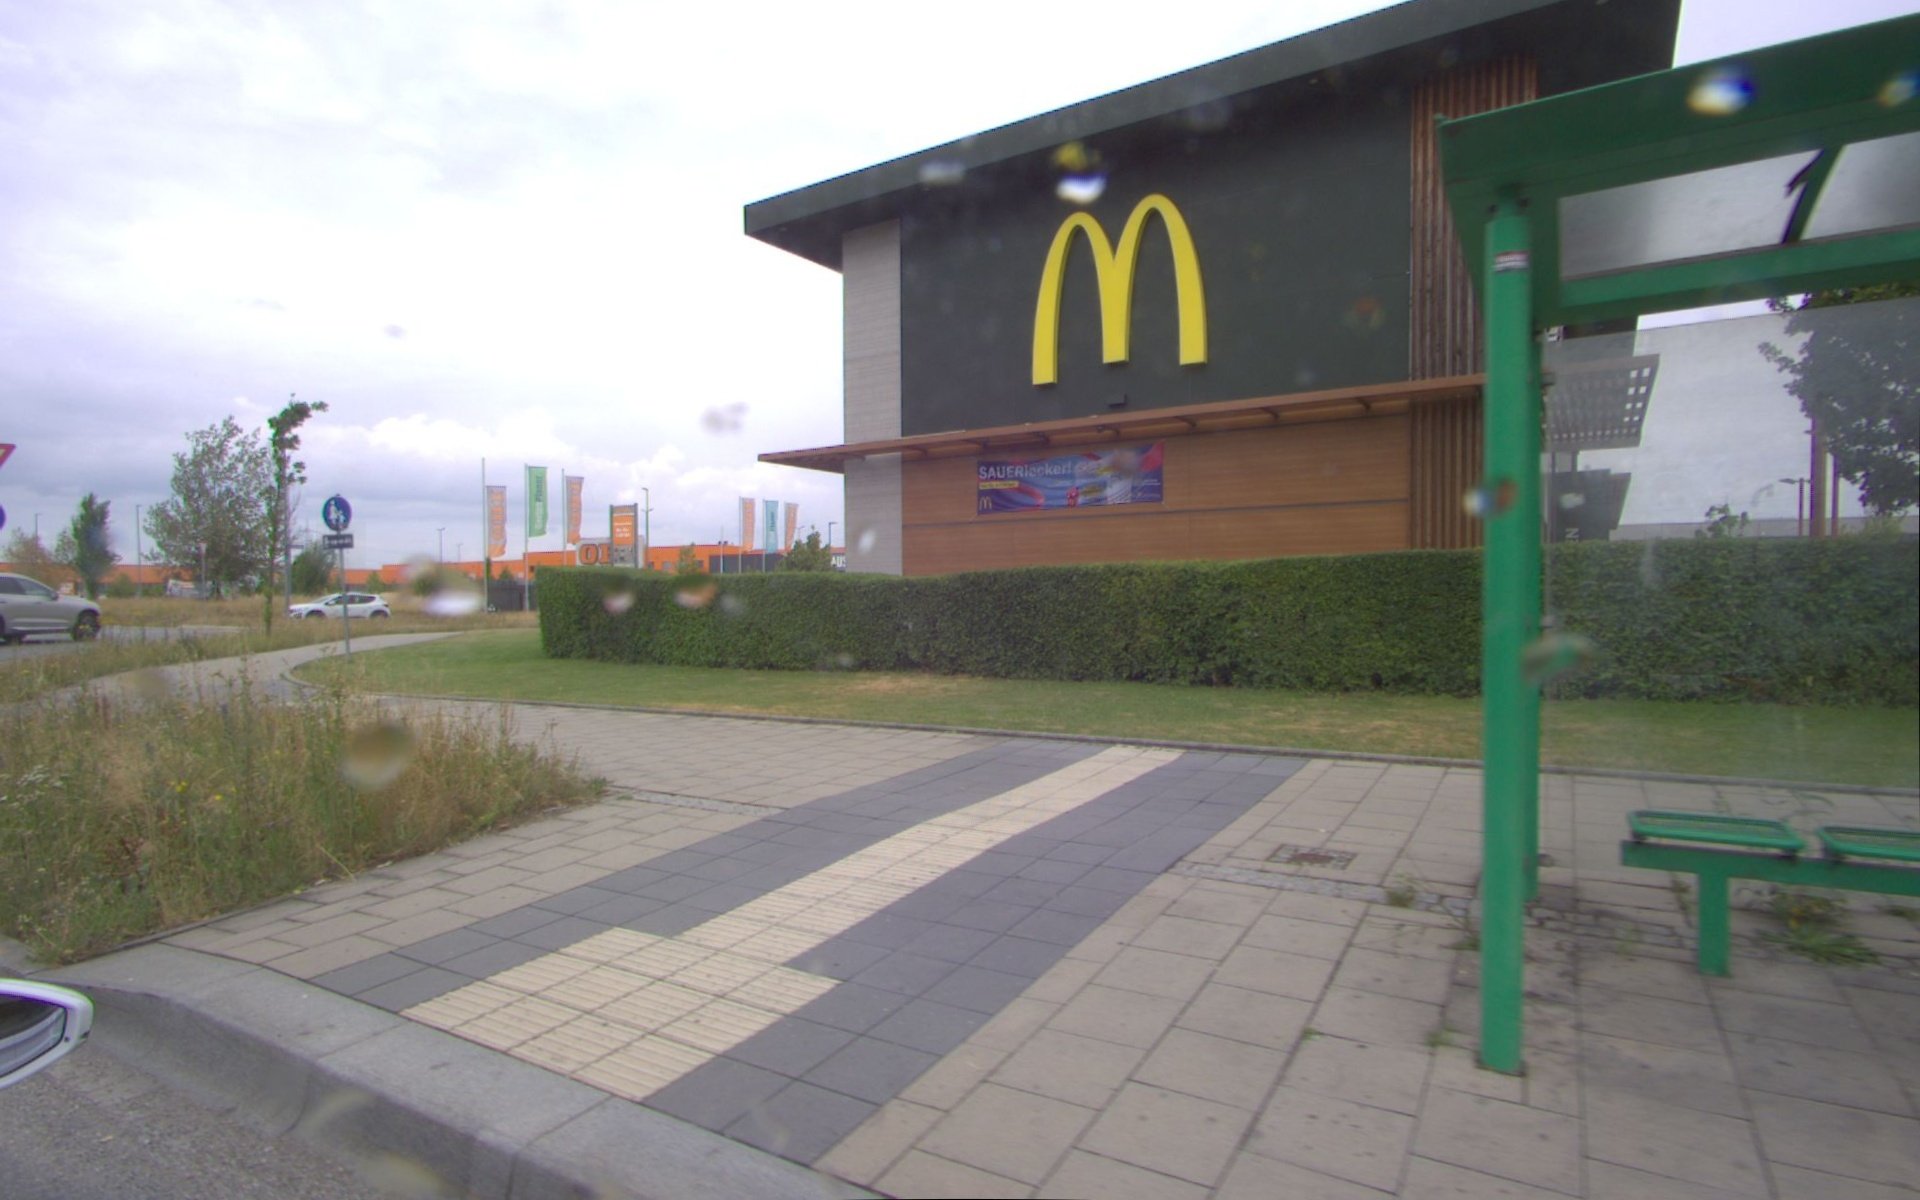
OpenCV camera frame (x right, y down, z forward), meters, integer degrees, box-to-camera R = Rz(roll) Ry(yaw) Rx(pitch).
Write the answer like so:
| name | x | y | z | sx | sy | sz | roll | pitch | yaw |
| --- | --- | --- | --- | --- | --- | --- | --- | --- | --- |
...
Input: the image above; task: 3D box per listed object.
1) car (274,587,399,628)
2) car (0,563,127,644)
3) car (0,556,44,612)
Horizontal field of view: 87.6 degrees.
| name | x | y | z | sx | sy | sz | roll | pitch | yaw |
| --- | --- | --- | --- | --- | --- | --- | --- | --- | --- |
| car | -27.408 | 0.282 | 44.127 | 1.844 | 1.671 | 4.312 | 3 | 2 | 35 |
| car | -22.352 | 0.032 | 23.413 | 1.907 | 1.762 | 4.771 | 1 | 2 | -3 |
| car | -35.153 | -0.609 | 35.378 | 4.689 | 1.913 | 2.080 | 2 | 2 | 18 |
